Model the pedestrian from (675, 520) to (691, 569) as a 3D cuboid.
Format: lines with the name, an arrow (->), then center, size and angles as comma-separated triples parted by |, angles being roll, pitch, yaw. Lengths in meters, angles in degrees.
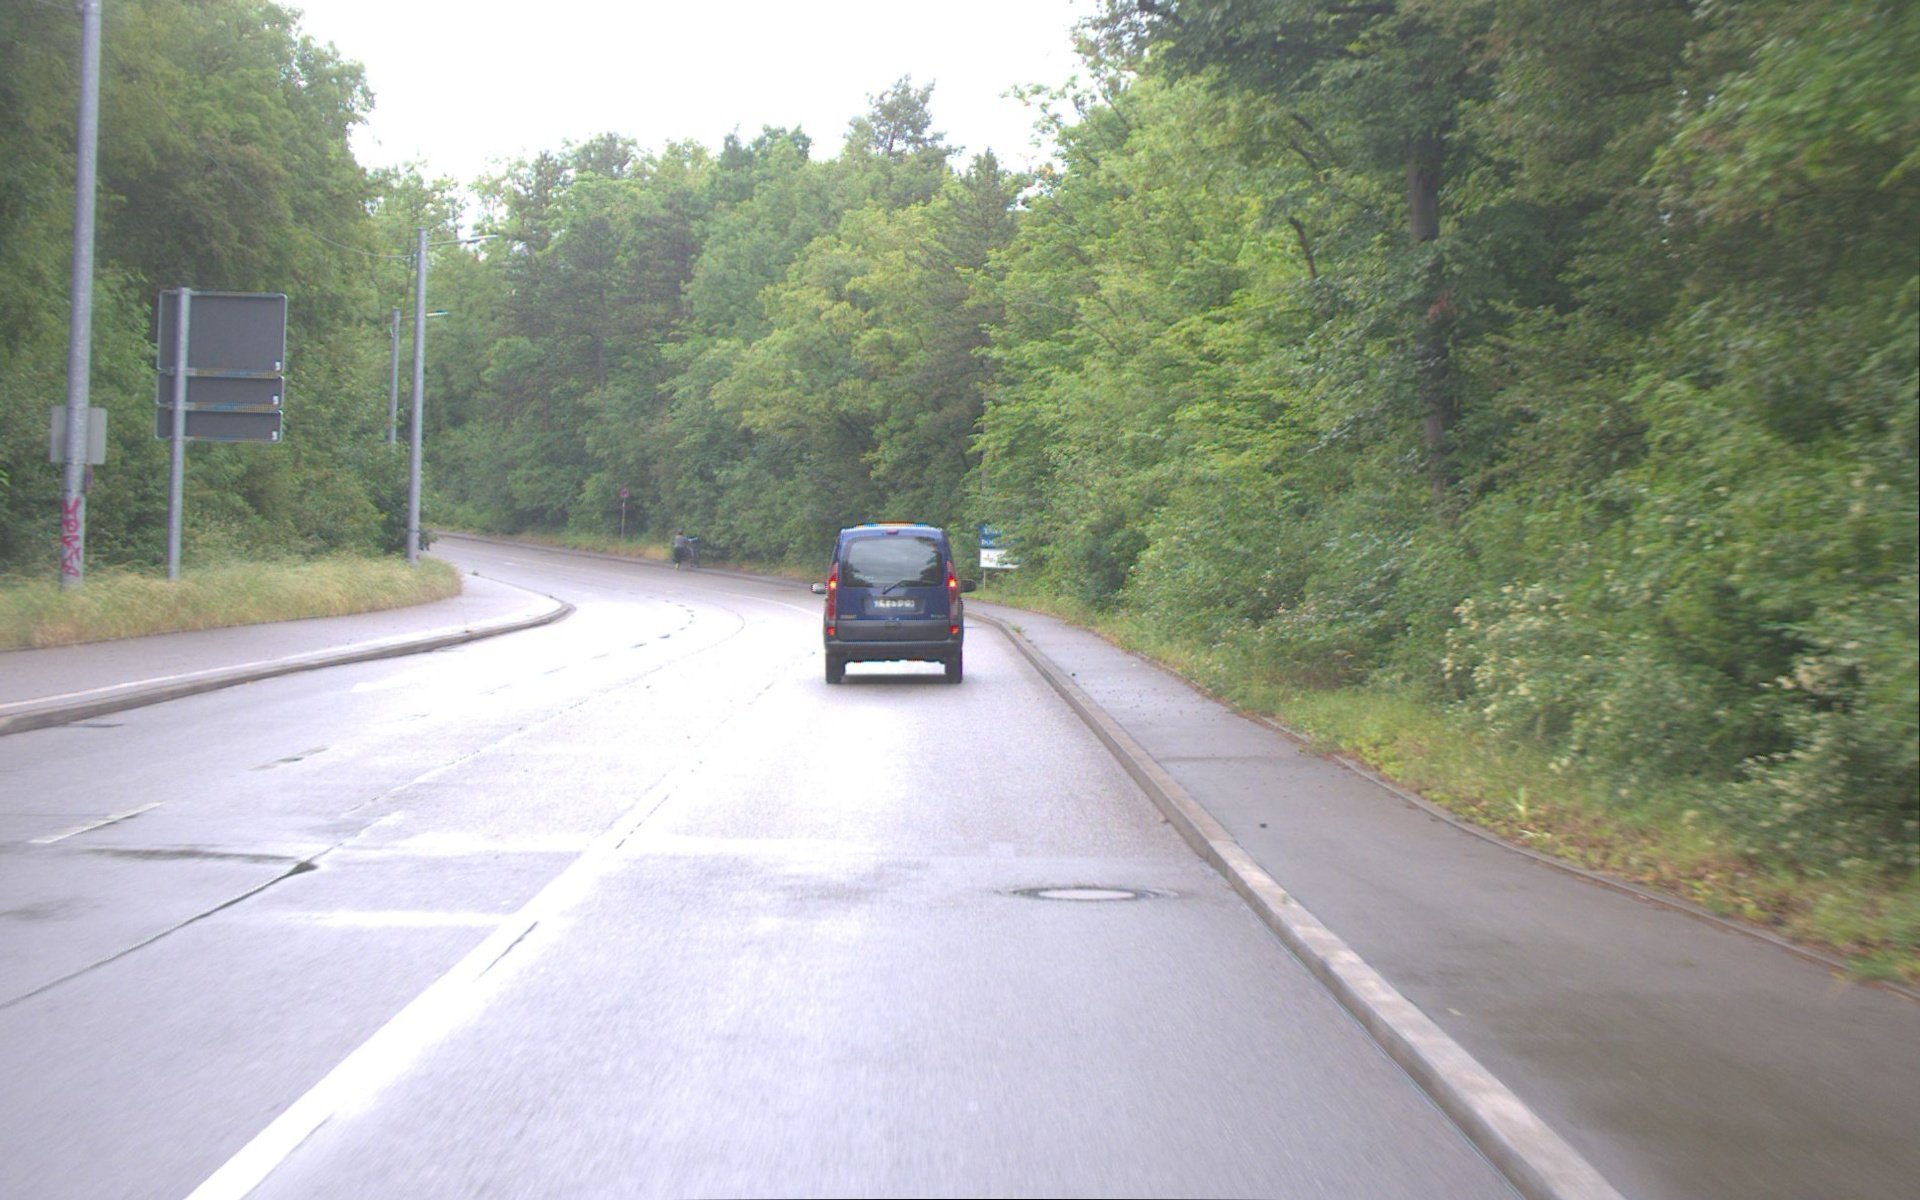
pedestrian -> -10.791, -2.165, 133.902 | 0.490, 1.863, 0.680 | 1, 1, -13

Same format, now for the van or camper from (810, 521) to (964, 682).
van or camper -> -0.924, 0.014, 41.282 | 1.712, 1.819, 4.000 | 1, 0, -3
